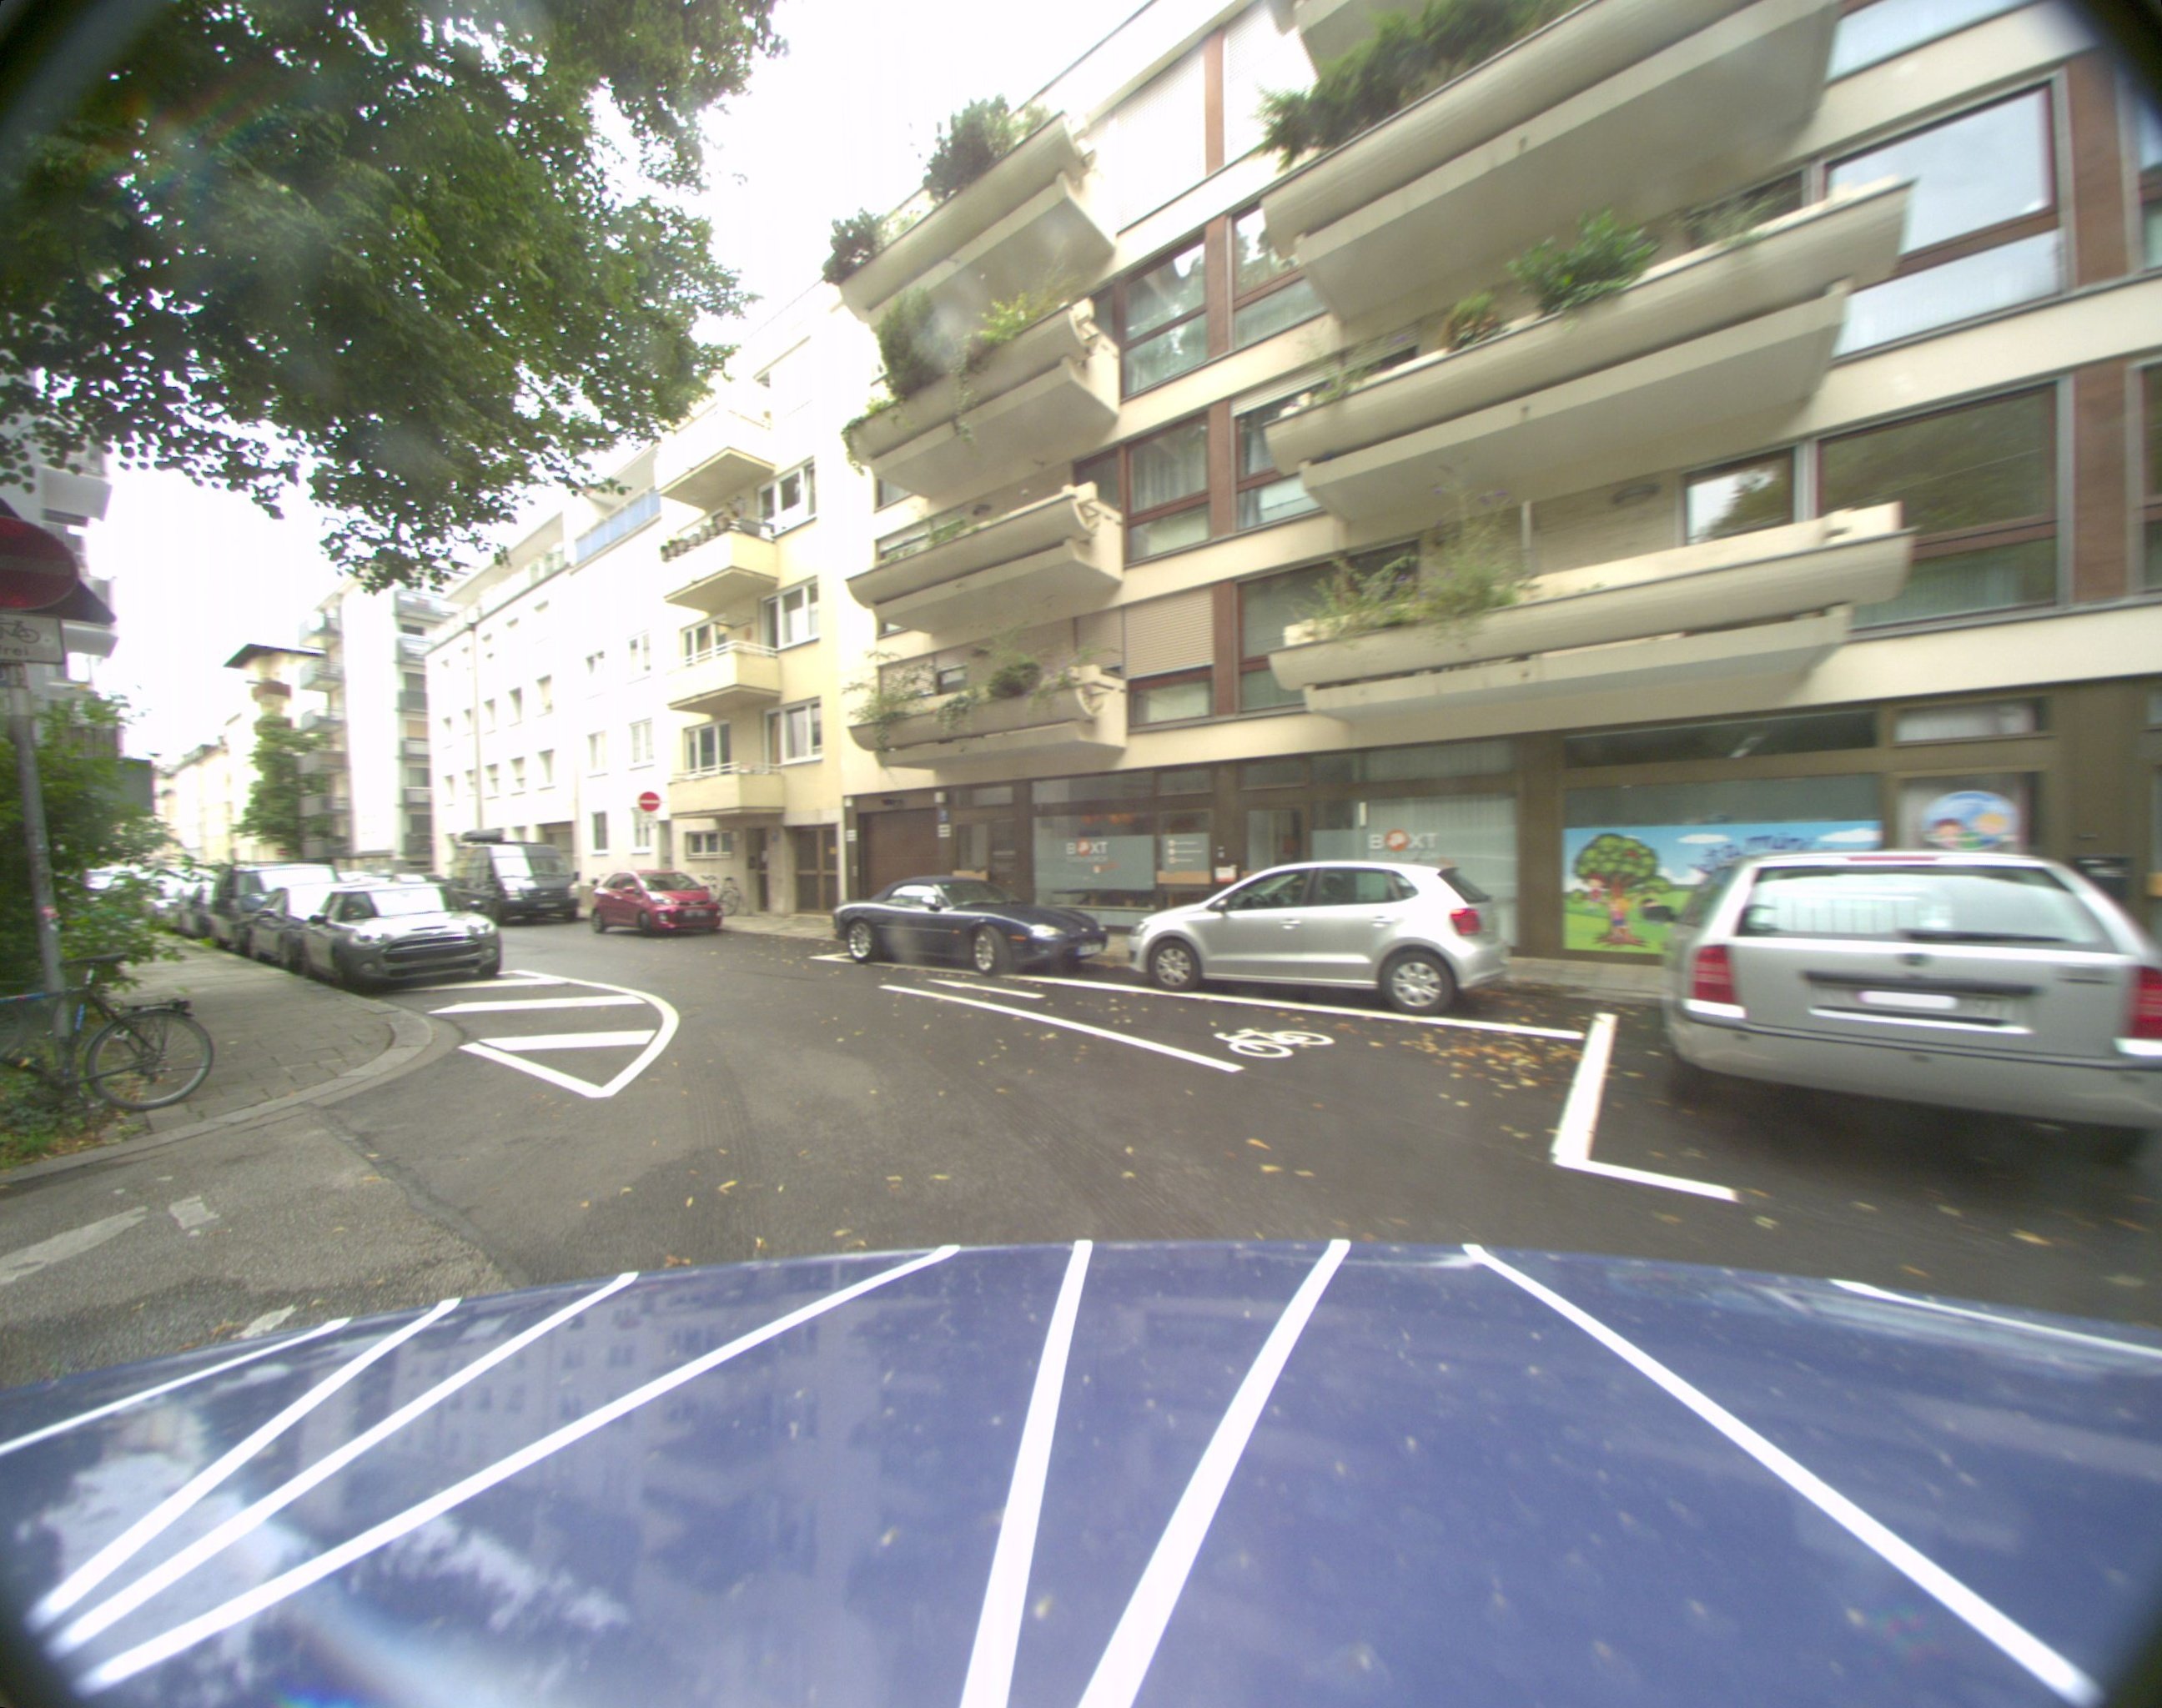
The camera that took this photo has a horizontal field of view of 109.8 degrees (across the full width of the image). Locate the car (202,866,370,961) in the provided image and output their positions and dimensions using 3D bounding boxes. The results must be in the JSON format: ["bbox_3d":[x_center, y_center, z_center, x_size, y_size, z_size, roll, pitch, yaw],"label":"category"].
[{"bbox_3d":[-17.785,1.186,16.932,4.768,1.781,1.884,-1,1,36],"label":"car"}]

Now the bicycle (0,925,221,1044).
[{"bbox_3d":[-10.171,1.334,7.903,1.635,1.050,0.451,-2,2,-11],"label":"bicycle"}]

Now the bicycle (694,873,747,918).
[{"bbox_3d":[-9.670,1.093,20.347,1.755,1.142,0.470,-1,2,37],"label":"bicycle"}]

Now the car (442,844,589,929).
[{"bbox_3d":[-16.856,0.880,22.548,5.375,2.265,2.029,-1,0,37],"label":"car"}]

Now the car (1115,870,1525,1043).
[{"bbox_3d":[2.403,0.896,8.041,3.822,1.413,1.569,-1,-1,35],"label":"car"}]

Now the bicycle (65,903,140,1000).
[{"bbox_3d":[-14.148,1.362,10.971,1.912,1.213,0.562,-1,2,37],"label":"bicycle"}]

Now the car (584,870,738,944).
[{"bbox_3d":[-9.735,1.142,17.530,3.698,1.488,1.628,-1,1,35],"label":"car"}]

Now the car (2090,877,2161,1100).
[{"bbox_3d":[6.651,0.810,3.226,1.713,1.359,4.081,-1,-1,36],"label":"car"}]

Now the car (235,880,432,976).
[{"bbox_3d":[-13.770,1.236,13.949,4.047,1.411,1.843,-1,1,35],"label":"car"}]

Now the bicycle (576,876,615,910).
[{"bbox_3d":[-16.630,1.305,26.012,1.865,1.091,0.465,-1,2,38],"label":"bicycle"}]

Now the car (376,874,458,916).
[{"bbox_3d":[-25.163,1.505,28.765,3.732,1.438,1.620,-1,-1,38],"label":"car"}]

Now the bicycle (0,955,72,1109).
[{"bbox_3d":[-8.250,1.330,5.095,0.604,1.050,1.637,-2,1,22],"label":"bicycle"}]

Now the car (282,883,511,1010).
[{"bbox_3d":[-10.148,1.199,11.185,3.989,1.433,1.752,-1,1,37],"label":"car"}]

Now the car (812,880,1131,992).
[{"bbox_3d":[-1.714,1.036,11.003,4.604,1.270,1.807,-1,-1,36],"label":"car"}]

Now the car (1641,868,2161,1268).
[{"bbox_3d":[4.662,0.822,4.834,1.716,1.446,4.251,-1,-2,36],"label":"car"}]

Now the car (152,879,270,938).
[{"bbox_3d":[-26.777,1.604,23.361,4.249,1.423,1.768,-1,4,34],"label":"car"}]

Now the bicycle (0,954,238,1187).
[{"bbox_3d":[-6.299,1.292,4.493,0.554,1.131,1.773,-2,1,2],"label":"bicycle"}]
